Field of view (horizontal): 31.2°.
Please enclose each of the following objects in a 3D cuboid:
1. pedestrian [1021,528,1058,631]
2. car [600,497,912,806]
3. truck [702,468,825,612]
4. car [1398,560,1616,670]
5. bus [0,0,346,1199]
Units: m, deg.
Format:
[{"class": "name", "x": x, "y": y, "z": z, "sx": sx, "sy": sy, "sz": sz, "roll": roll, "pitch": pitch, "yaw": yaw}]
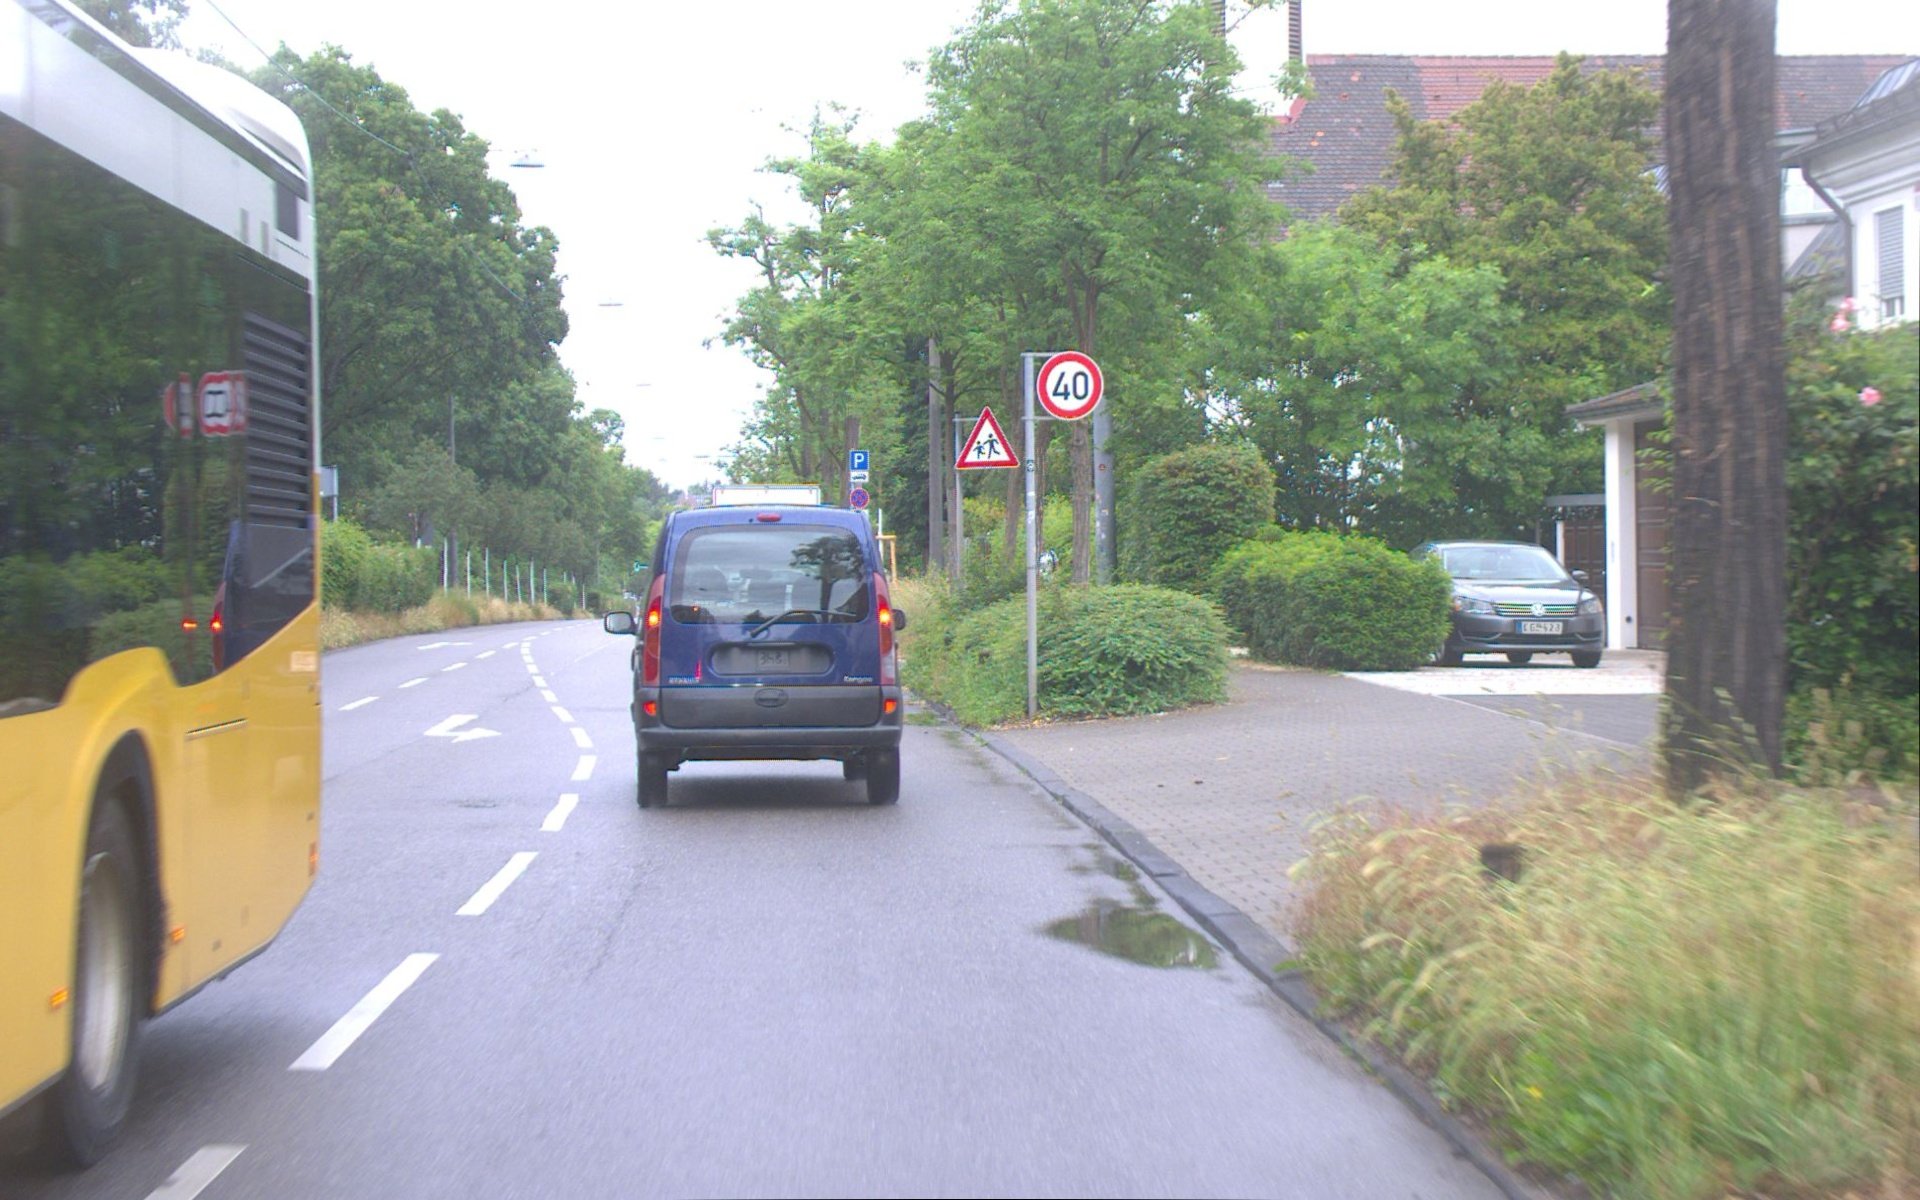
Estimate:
[{"class": "pedestrian", "x": 1.319, "y": -0.342, "z": 56.840, "sx": 0.561, "sy": 1.702, "sz": 0.516, "roll": 0, "pitch": 1, "yaw": 5}, {"class": "car", "x": -1.281, "y": 0.281, "z": 22.221, "sx": 1.808, "sy": 1.791, "sz": 4.000, "roll": -1, "pitch": 1, "yaw": -2}, {"class": "truck", "x": -4.902, "y": -1.463, "z": 84.695, "sx": 2.731, "sy": 3.375, "sz": 6.686, "roll": -1, "pitch": 1, "yaw": -5}, {"class": "car", "x": 6.213, "y": 0.139, "z": 39.442, "sx": 1.831, "sy": 1.172, "sz": 4.000, "roll": 1, "pitch": 1, "yaw": 0}, {"class": "bus", "x": -3.310, "y": -0.237, "z": 7.585, "sx": 2.594, "sy": 3.147, "sz": 8.636, "roll": 0, "pitch": 1, "yaw": -2}]
